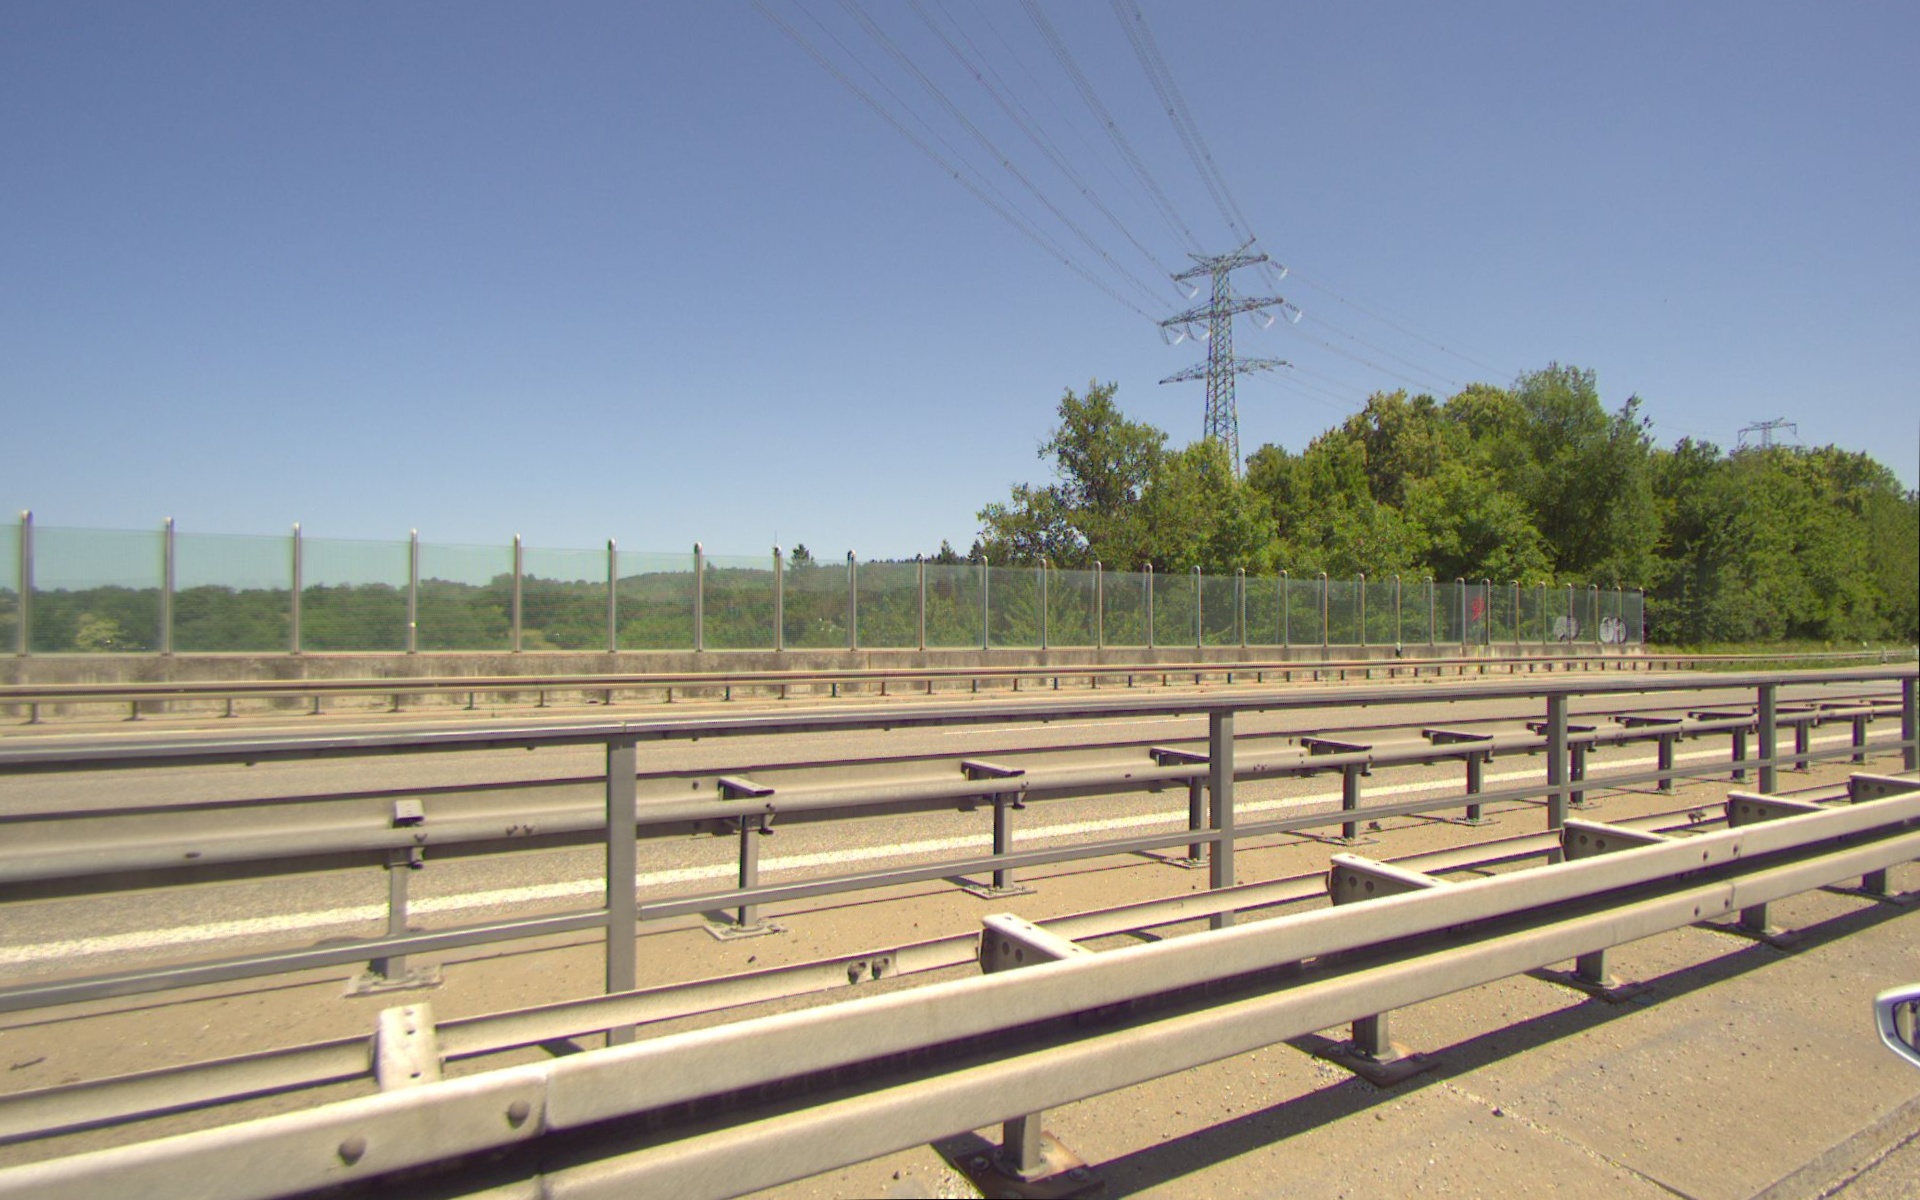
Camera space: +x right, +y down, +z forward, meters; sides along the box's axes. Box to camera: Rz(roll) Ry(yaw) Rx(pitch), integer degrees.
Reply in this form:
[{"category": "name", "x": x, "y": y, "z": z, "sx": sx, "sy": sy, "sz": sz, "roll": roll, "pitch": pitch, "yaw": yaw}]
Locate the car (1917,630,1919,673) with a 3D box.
[{"category": "car", "x": 34.736, "y": 1.793, "z": 34.590, "sx": 3.500, "sy": 1.481, "sz": 1.645, "roll": 2, "pitch": -2, "yaw": -30}]
